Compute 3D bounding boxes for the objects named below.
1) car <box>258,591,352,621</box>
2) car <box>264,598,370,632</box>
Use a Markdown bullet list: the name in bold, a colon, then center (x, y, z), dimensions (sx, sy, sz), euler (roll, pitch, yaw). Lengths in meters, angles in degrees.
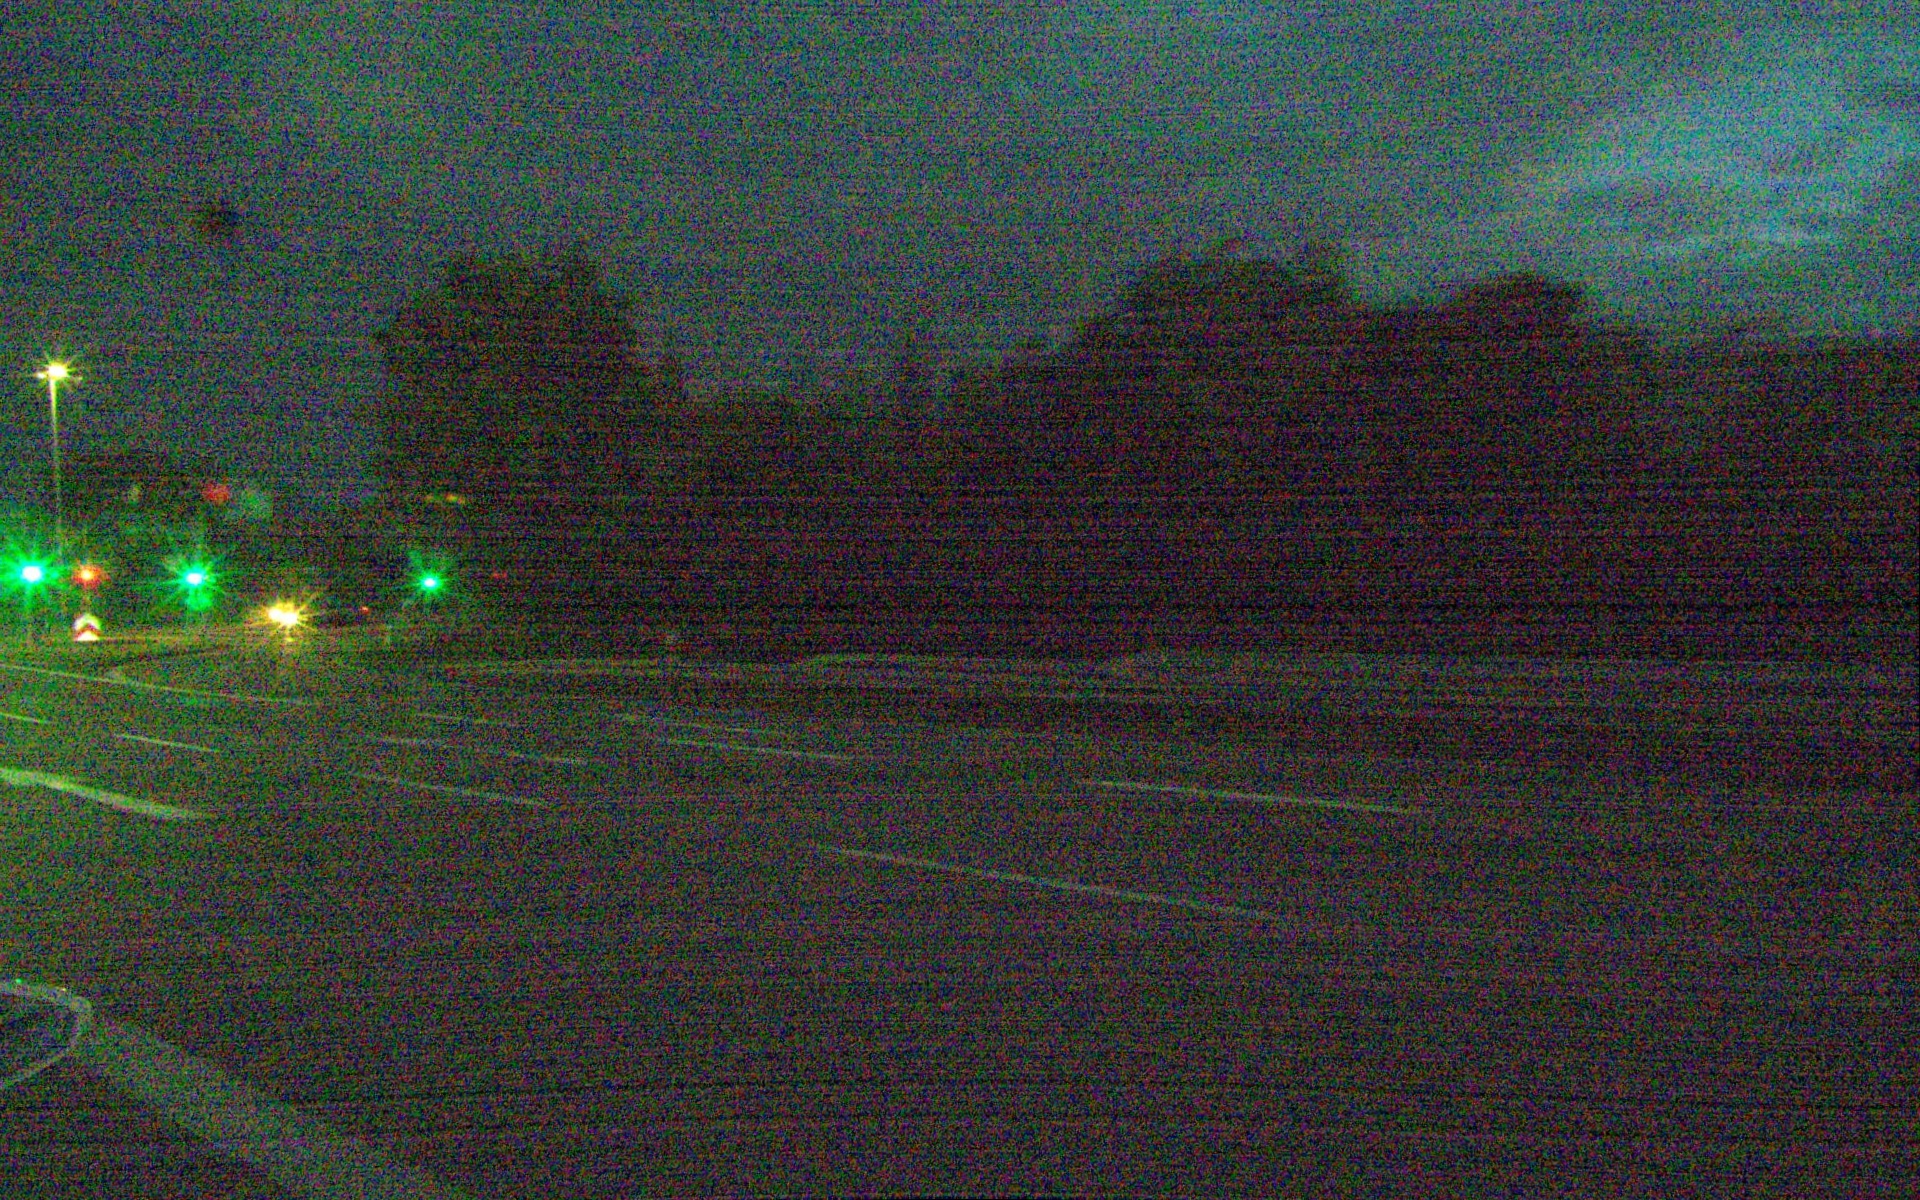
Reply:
- **car**: center (-36.514, 0.300, 55.914), dimensions (1.872, 1.590, 3.980), euler (1, 1, 30)
- **car**: center (-32.219, 0.715, 50.283), dimensions (1.972, 1.590, 4.067), euler (1, 0, 30)
